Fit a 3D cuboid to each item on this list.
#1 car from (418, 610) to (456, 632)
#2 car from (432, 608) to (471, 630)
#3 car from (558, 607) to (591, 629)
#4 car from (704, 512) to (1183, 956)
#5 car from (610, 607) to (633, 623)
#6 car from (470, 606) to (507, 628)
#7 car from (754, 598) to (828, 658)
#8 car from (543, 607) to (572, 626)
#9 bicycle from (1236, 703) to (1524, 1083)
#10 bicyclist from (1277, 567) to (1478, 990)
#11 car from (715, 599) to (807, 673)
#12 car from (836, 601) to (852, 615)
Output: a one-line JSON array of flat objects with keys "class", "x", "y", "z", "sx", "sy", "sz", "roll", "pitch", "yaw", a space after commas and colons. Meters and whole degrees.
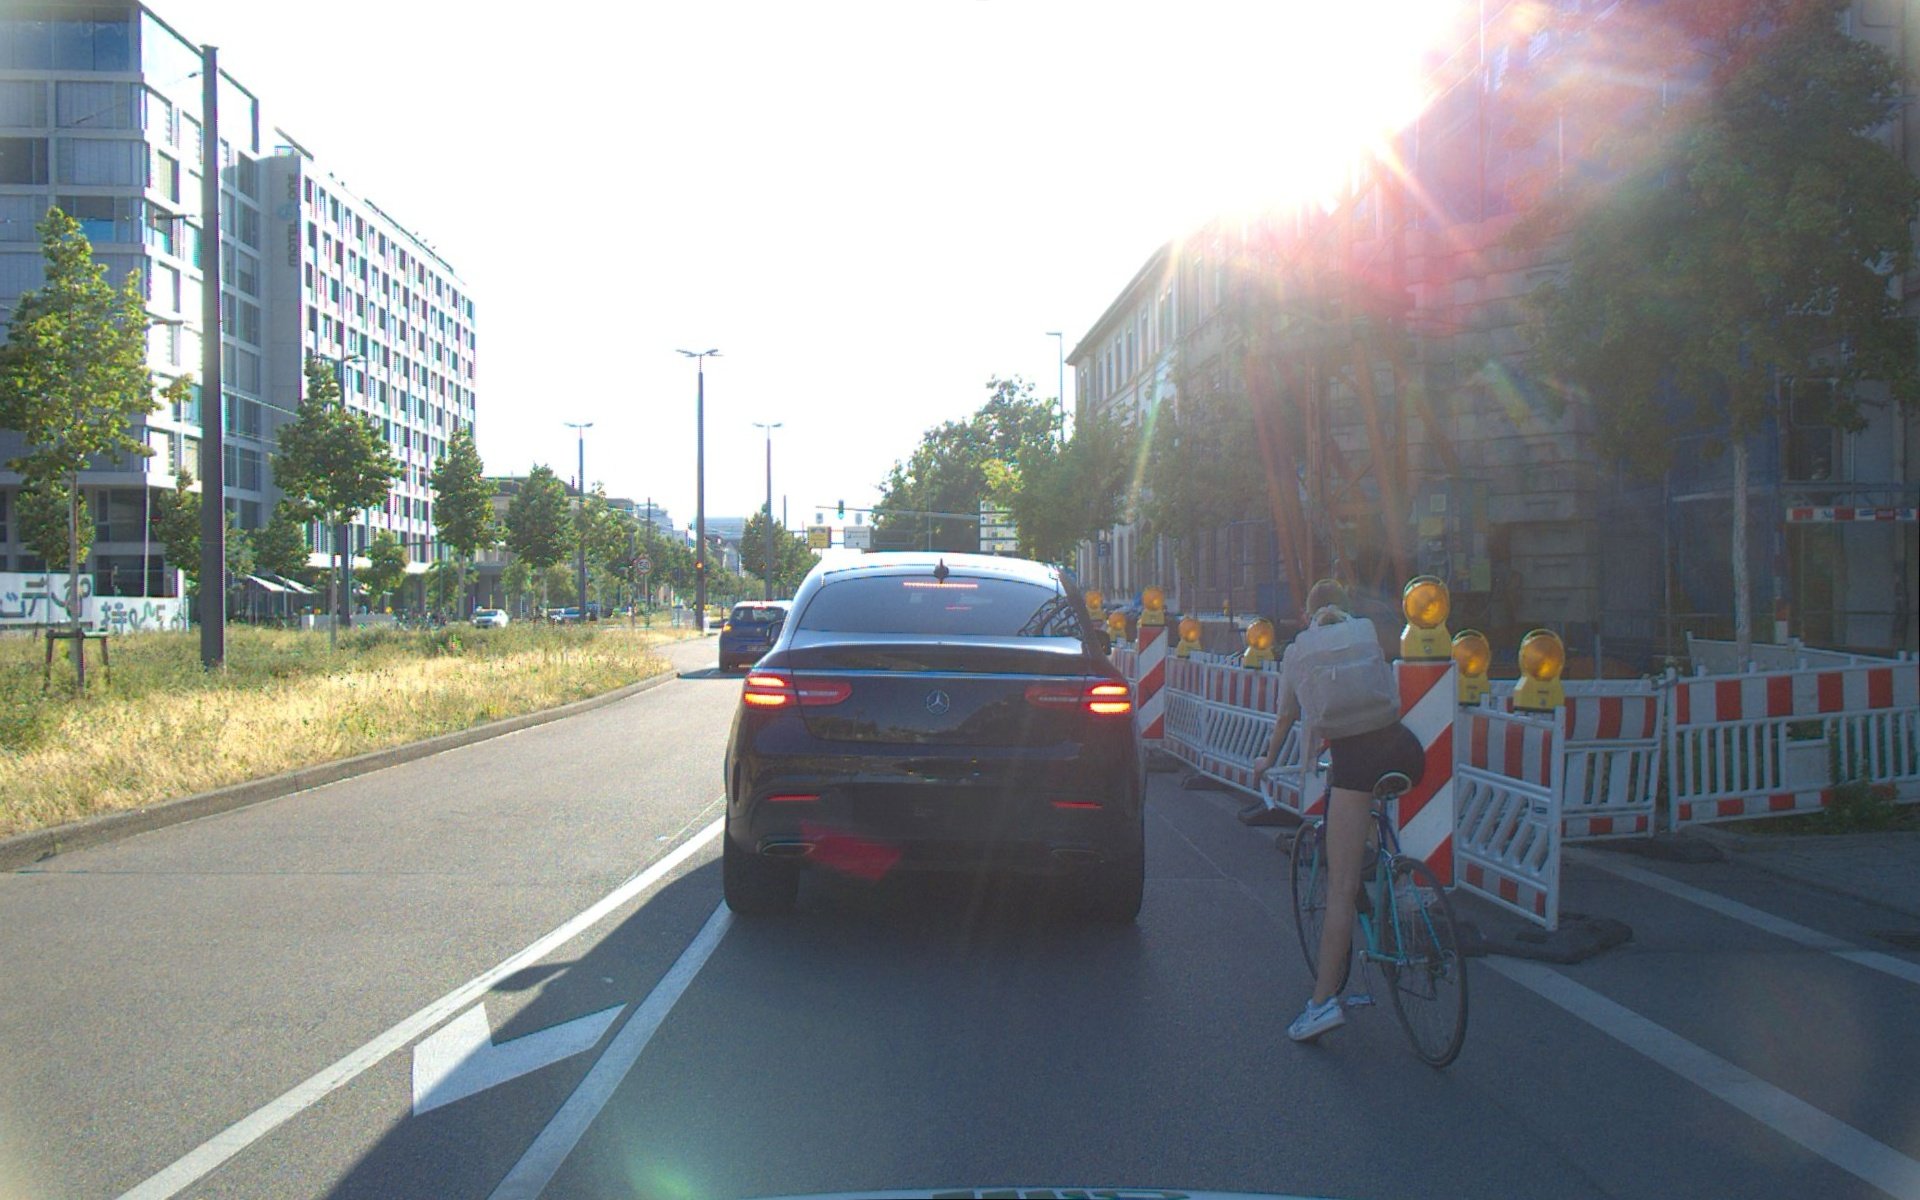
[{"class": "car", "x": -36.971, "y": 1.473, "z": 116.994, "sx": 1.674, "sy": 1.467, "sz": 3.580, "roll": 1, "pitch": 0, "yaw": -3}, {"class": "car", "x": -35.207, "y": 1.279, "z": 114.579, "sx": 1.674, "sy": 1.467, "sz": 3.580, "roll": 1, "pitch": 0, "yaw": -3}, {"class": "car", "x": -27.299, "y": 1.251, "z": 117.212, "sx": 1.674, "sy": 1.467, "sz": 3.580, "roll": 1, "pitch": 0, "yaw": -3}, {"class": "car", "x": -0.093, "y": 0.564, "z": 8.836, "sx": 1.953, "sy": 1.803, "sz": 3.999, "roll": 1, "pitch": 0, "yaw": -1}, {"class": "car", "x": -32.570, "y": 1.468, "z": 159.232, "sx": 1.674, "sy": 1.467, "sz": 3.580, "roll": 1, "pitch": 0, "yaw": -3}, {"class": "car", "x": -32.726, "y": 1.148, "z": 114.957, "sx": 1.674, "sy": 1.467, "sz": 3.580, "roll": 1, "pitch": 0, "yaw": -3}, {"class": "car", "x": -4.312, "y": 0.696, "z": 42.612, "sx": 1.674, "sy": 1.467, "sz": 3.580, "roll": 1, "pitch": 0, "yaw": -3}, {"class": "car", "x": -33.400, "y": 1.364, "z": 137.400, "sx": 1.674, "sy": 1.467, "sz": 3.580, "roll": 1, "pitch": 0, "yaw": -3}, {"class": "bicycle", "x": 1.449, "y": 0.963, "z": 5.992, "sx": 0.502, "sy": 1.070, "sz": 1.724, "roll": 1, "pitch": 0, "yaw": -3}, {"class": "bicyclist", "x": 1.467, "y": 0.604, "z": 5.879, "sx": 0.512, "sy": 1.420, "sz": 0.614, "roll": 1, "pitch": -1, "yaw": -4}, {"class": "car", "x": -4.184, "y": 0.737, "z": 35.259, "sx": 1.674, "sy": 1.467, "sz": 3.580, "roll": 1, "pitch": 0, "yaw": -3}, {"class": "car", "x": -12.867, "y": 0.909, "z": 184.232, "sx": 1.674, "sy": 1.467, "sz": 3.580, "roll": 1, "pitch": 0, "yaw": -3}]
